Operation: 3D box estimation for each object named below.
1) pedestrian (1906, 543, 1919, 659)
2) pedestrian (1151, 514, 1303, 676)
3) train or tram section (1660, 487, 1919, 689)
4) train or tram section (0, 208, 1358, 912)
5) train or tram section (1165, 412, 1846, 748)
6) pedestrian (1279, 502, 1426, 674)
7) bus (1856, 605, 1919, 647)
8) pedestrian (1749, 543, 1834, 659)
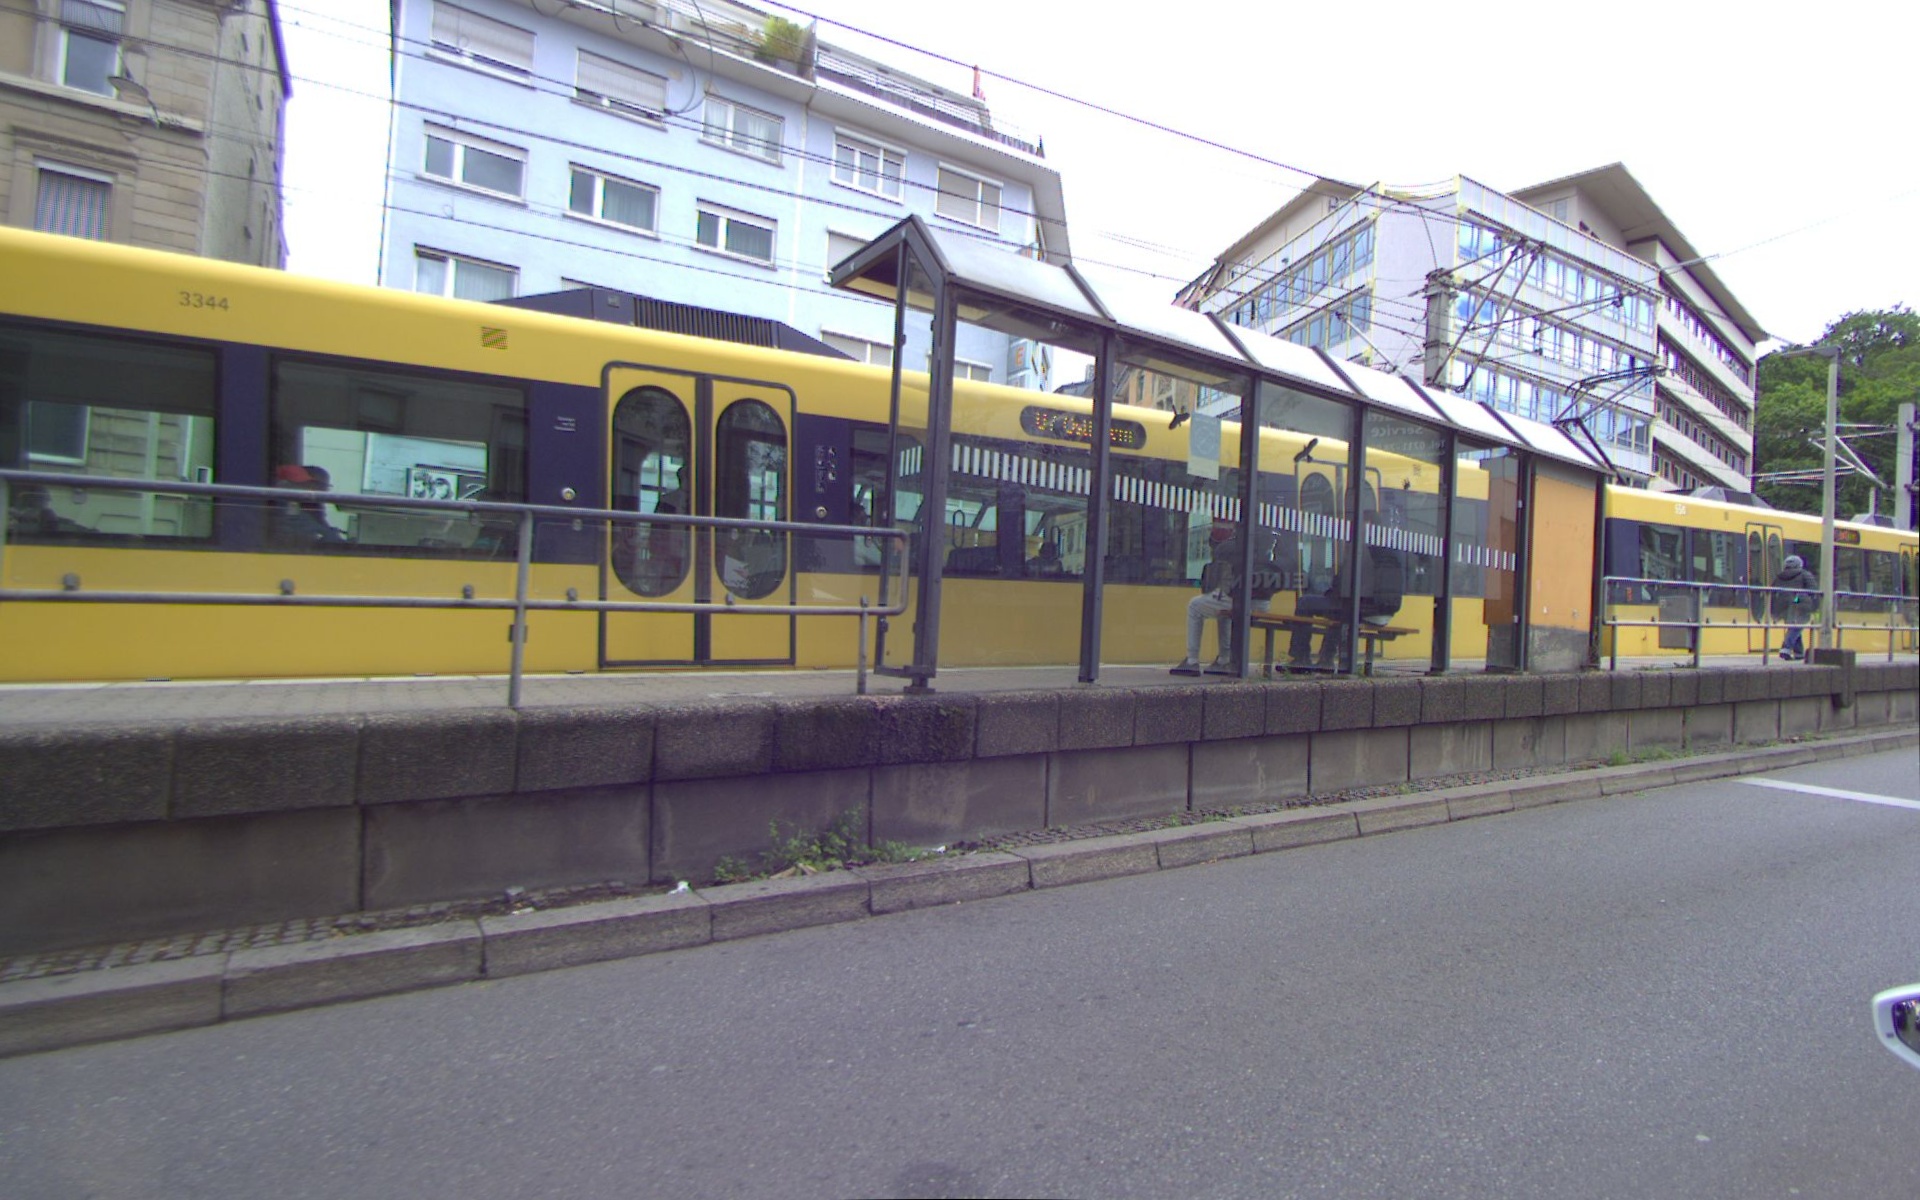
[{"bbox_3d":[17.283,0.051,17.450,1.219,1.995,0.925,5,-3,-30],"label":"pedestrian"},{"bbox_3d":[2.039,-0.015,7.719,0.769,1.157,0.846,1,-2,-29],"label":"pedestrian"},{"bbox_3d":[21.478,-0.151,23.461,14.312,3.711,2.867,0,-3,-32],"label":"train or tram section"},{"bbox_3d":[-2.367,-0.158,8.638,14.069,3.711,2.867,0,-3,-32],"label":"train or tram section"},{"bbox_3d":[9.523,-0.158,16.021,14.069,3.711,2.867,0,-3,-32],"label":"train or tram section"},{"bbox_3d":[3.228,-0.074,8.300,0.769,1.323,0.846,1,-2,-29],"label":"pedestrian"},{"bbox_3d":[72.968,1.911,73.198,3.334,3.069,11.511,1,-1,-16],"label":"bus"},{"bbox_3d":[11.934,0.029,14.424,0.657,1.605,0.774,1,-1,-30],"label":"pedestrian"}]
